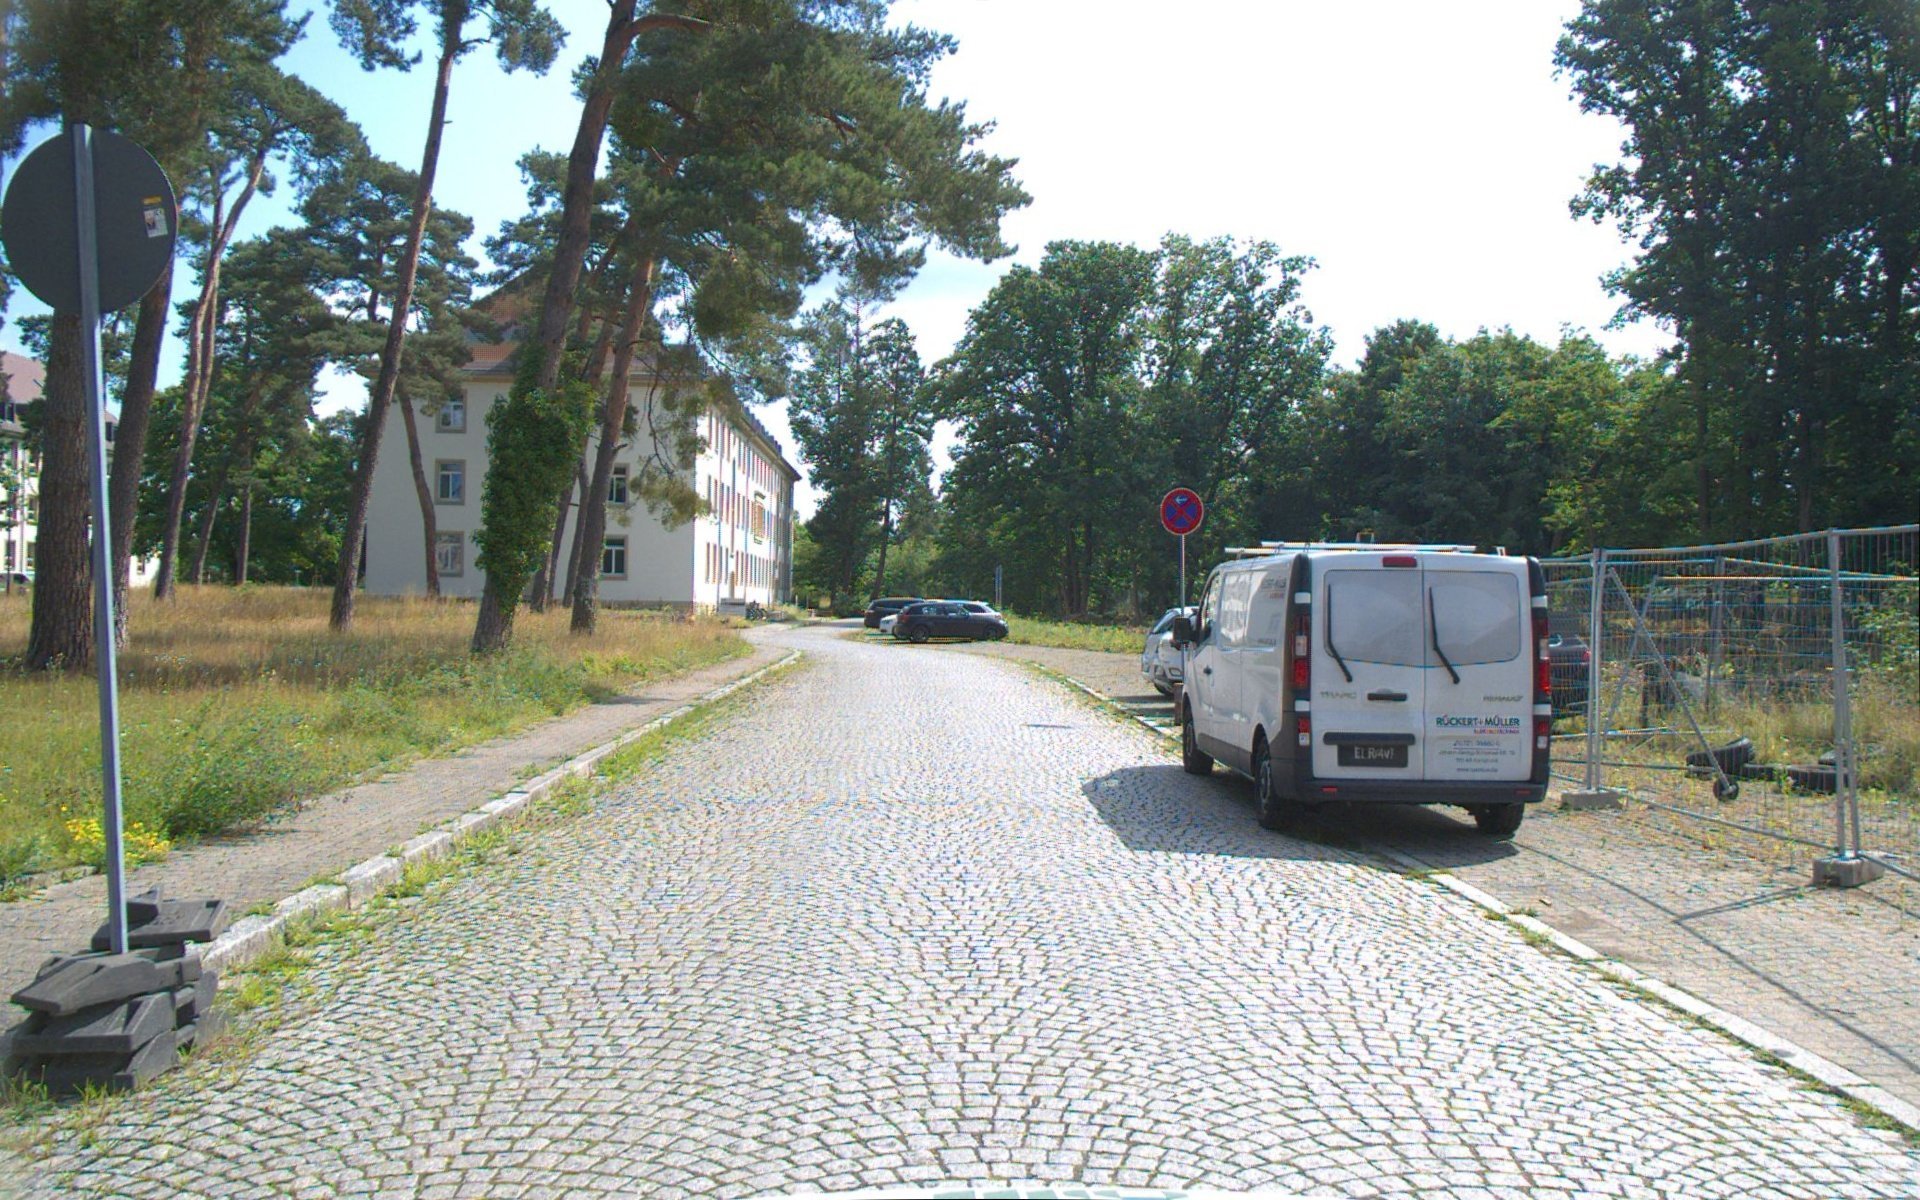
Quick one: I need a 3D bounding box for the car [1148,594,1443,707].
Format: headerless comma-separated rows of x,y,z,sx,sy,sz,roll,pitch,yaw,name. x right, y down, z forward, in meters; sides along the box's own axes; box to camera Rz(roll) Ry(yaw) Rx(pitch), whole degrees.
4.857,0.708,24.248,3.909,1.533,1.745,-1,0,-5,car

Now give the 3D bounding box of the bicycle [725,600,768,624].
-11.324,0.646,87.885,2.176,1.282,0.623,0,0,0,bicycle

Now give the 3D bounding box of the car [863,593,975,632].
-1.789,0.542,71.203,4.756,1.580,1.878,-1,-1,-4,car

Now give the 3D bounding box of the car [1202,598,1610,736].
5.235,0.752,19.698,4.368,1.501,1.743,-1,0,-6,car

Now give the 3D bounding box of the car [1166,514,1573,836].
3.034,0.499,13.649,1.875,2.089,5.677,0,0,-1,car

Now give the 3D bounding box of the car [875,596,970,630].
-1.767,0.597,76.520,4.311,1.510,1.764,-1,-1,-4,car

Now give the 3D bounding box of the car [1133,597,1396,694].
4.982,0.727,27.318,3.963,1.489,1.702,-1,0,-5,car

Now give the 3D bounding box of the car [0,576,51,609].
-58.648,-0.461,102.222,3.977,2.026,1.712,0,0,-1,car

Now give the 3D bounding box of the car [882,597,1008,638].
-0.620,0.659,63.898,4.765,1.498,1.873,-1,1,-4,car

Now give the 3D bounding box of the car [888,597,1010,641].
-0.433,0.676,60.691,4.246,1.526,1.826,-1,1,-10,car

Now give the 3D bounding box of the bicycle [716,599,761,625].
-11.399,0.611,85.193,2.175,1.282,0.623,0,0,4,bicycle
